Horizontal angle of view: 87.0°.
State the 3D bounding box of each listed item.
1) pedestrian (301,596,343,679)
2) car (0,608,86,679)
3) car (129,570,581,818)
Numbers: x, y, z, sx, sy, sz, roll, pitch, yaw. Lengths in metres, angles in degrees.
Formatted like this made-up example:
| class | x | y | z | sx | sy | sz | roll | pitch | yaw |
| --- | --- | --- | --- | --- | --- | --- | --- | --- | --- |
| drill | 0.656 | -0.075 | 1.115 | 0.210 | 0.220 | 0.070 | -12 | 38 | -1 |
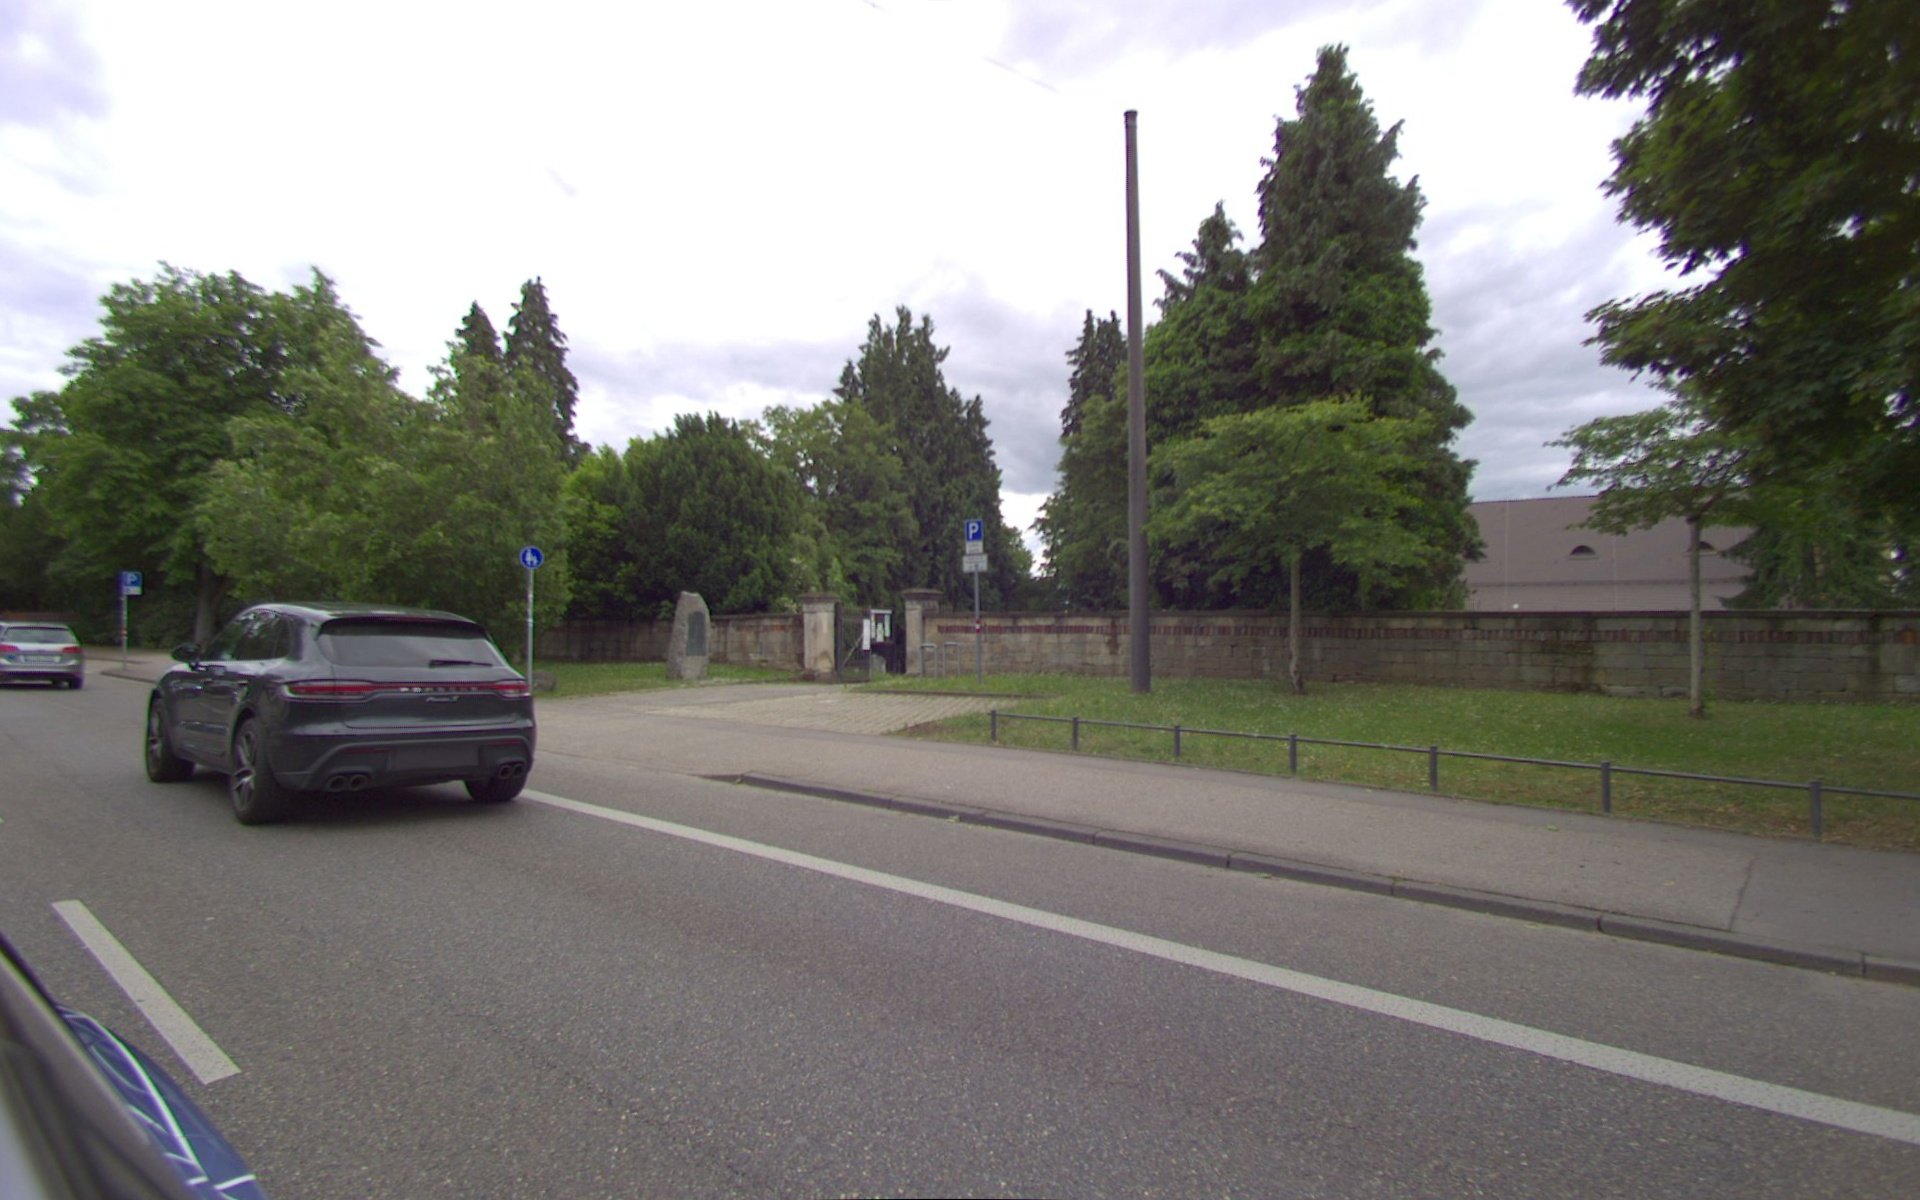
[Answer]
| class | x | y | z | sx | sy | sz | roll | pitch | yaw |
| --- | --- | --- | --- | --- | --- | --- | --- | --- | --- |
| pedestrian | -14.377 | 0.826 | 22.804 | 0.784 | 1.825 | 0.607 | -1 | 0 | 41 |
| car | -21.217 | 0.964 | 22.881 | 4.153 | 1.474 | 1.707 | -1 | -3 | 42 |
| car | -5.273 | 0.672 | 8.547 | 4.524 | 1.543 | 1.919 | -1 | -4 | 41 |
